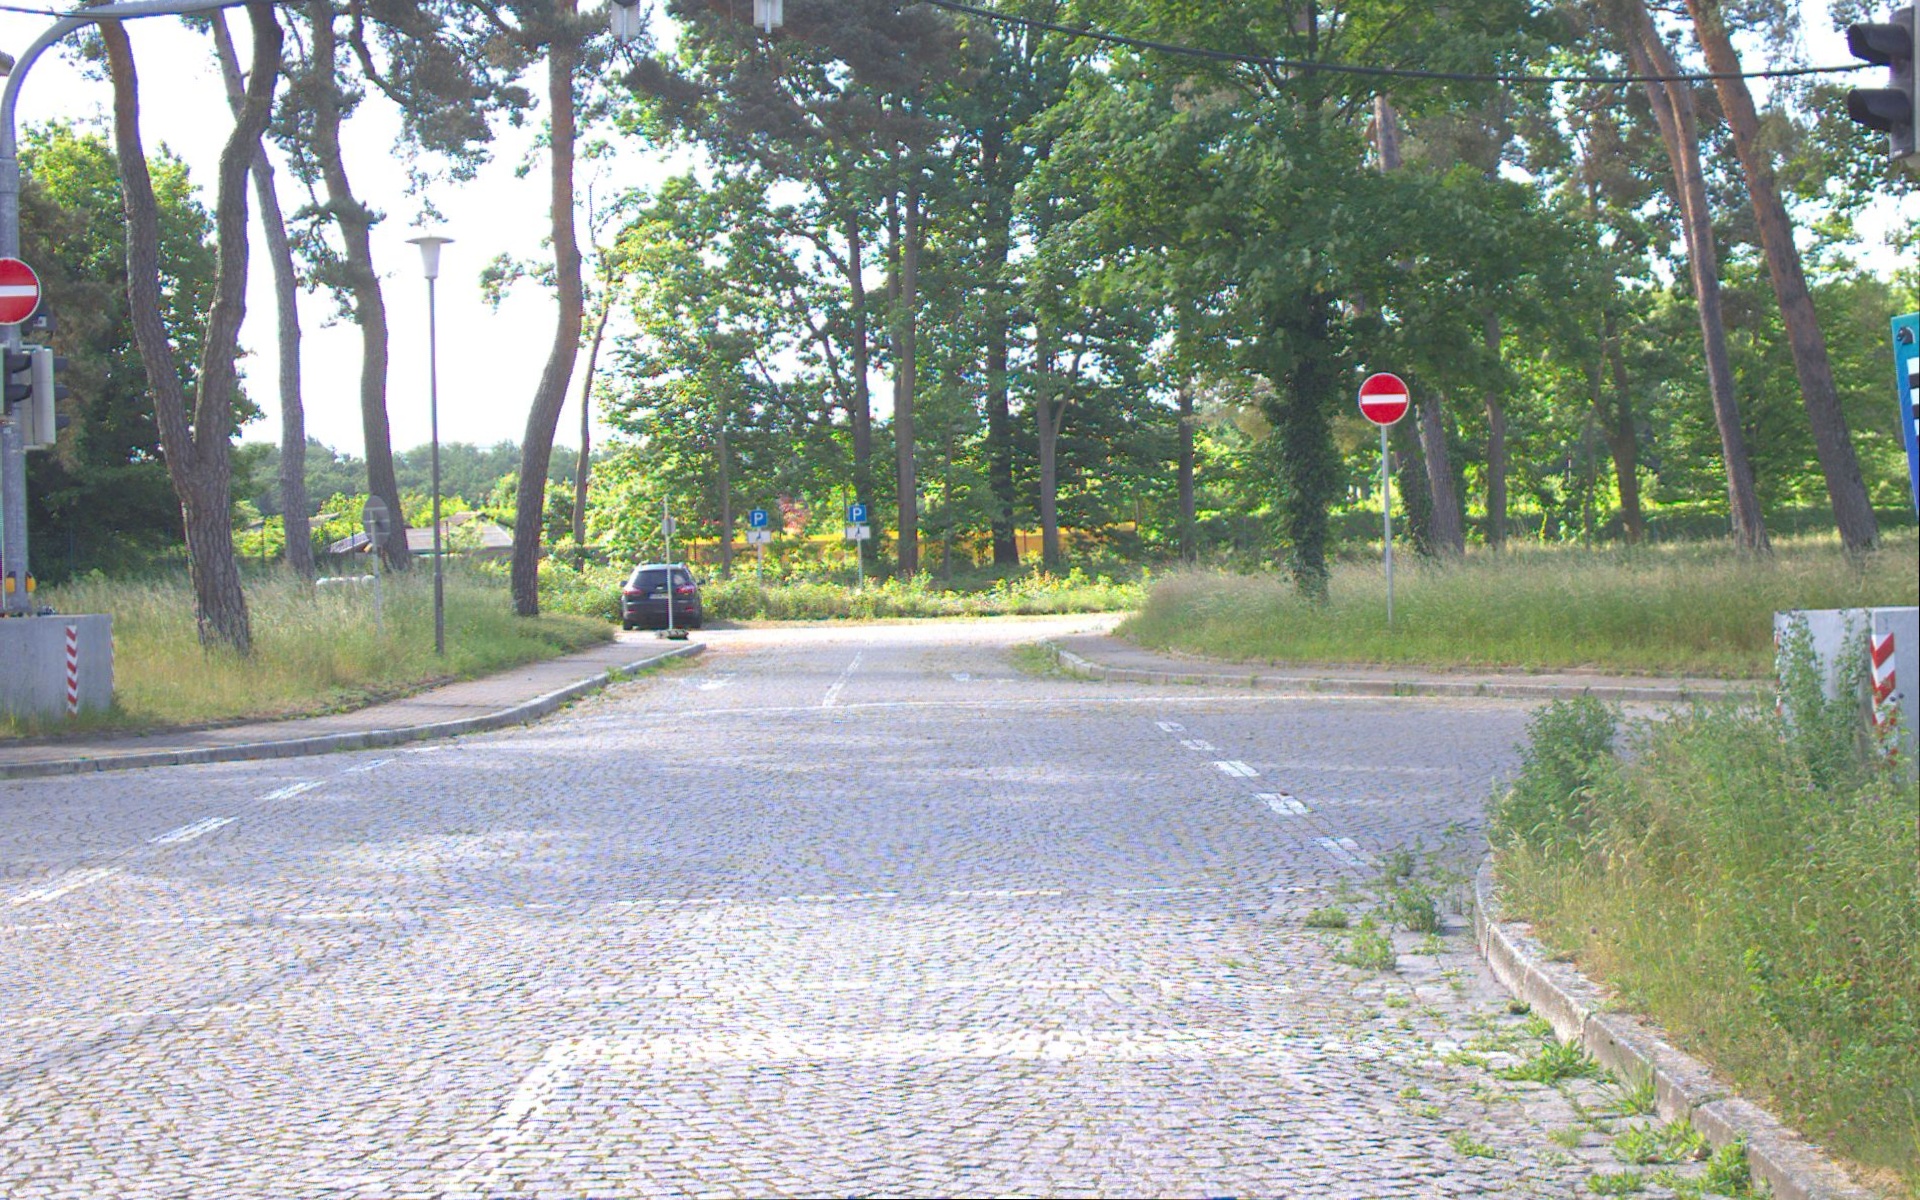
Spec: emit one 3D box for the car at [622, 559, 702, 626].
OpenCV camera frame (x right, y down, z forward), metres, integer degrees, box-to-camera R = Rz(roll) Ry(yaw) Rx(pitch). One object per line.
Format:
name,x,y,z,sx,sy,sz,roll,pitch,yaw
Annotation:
car,-7.055,-0.206,81.561,1.709,1.491,3.919,-2,1,-3
